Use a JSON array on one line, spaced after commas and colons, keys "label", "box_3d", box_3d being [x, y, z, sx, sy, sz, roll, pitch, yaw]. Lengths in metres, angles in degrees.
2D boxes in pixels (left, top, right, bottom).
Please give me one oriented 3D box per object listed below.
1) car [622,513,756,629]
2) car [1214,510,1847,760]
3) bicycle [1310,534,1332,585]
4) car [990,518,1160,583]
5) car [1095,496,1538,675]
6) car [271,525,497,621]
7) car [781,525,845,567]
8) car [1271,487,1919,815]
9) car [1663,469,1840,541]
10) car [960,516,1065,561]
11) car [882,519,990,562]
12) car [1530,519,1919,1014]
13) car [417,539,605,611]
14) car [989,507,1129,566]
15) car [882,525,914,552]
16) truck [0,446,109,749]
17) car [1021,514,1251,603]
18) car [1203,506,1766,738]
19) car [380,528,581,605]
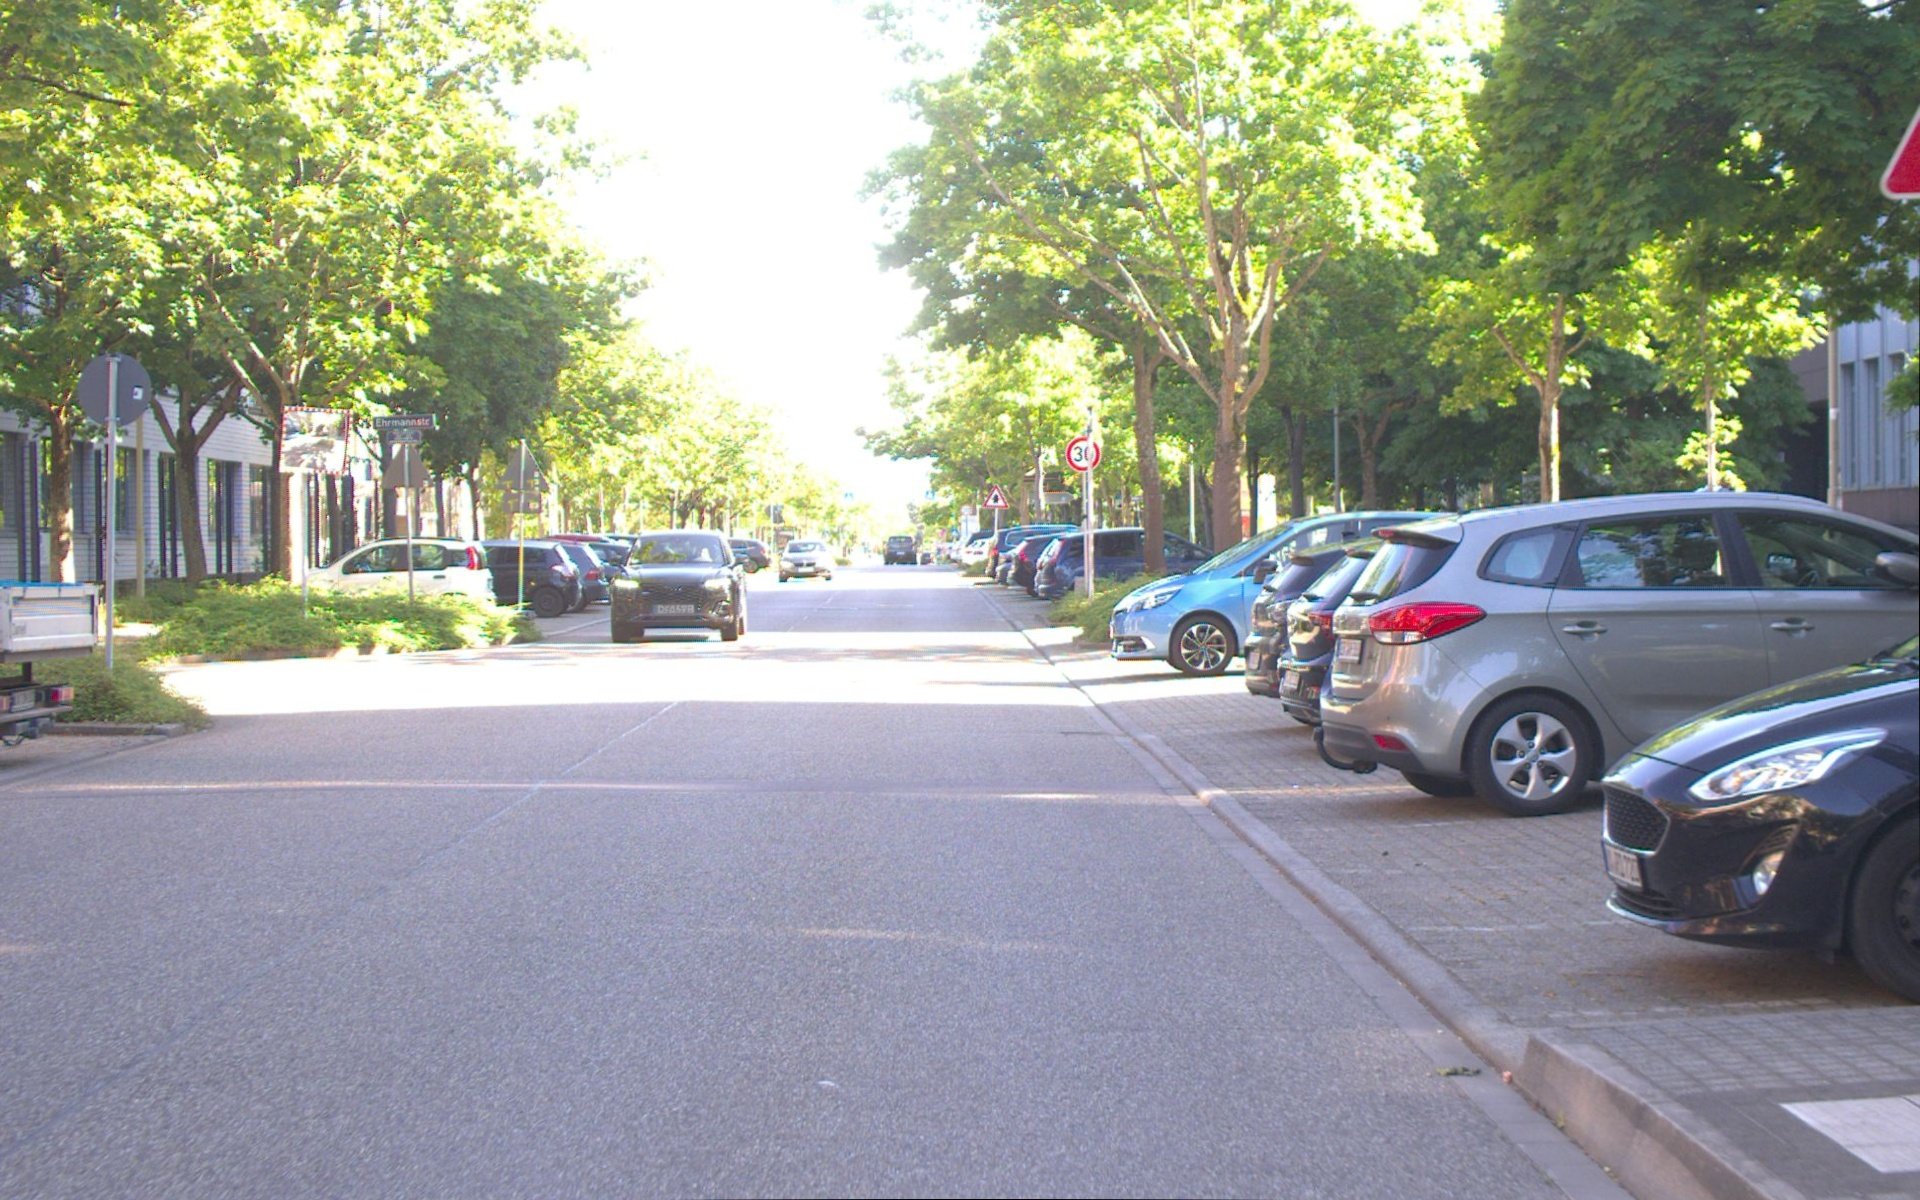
[{"label": "car", "box_3d": [-4.091, -0.463, 52.475, 1.891, 1.678, 4.353, -1, 1, -3]}, {"label": "car", "box_3d": [3.747, 0.196, 22.950, 3.799, 1.403, 1.702, -3, 2, -6]}, {"label": "bicycle", "box_3d": [7.466, -0.845, 71.128, 0.379, 1.043, 1.884, -2, 1, 5]}, {"label": "car", "box_3d": [2.854, -1.244, 85.806, 4.043, 1.486, 1.550, -2, 1, -5]}, {"label": "car", "box_3d": [3.742, -0.173, 36.626, 4.405, 1.612, 1.912, -3, 1, -1]}, {"label": "car", "box_3d": [-9.634, -0.442, 57.677, 3.580, 1.544, 1.637, 0, -2, -3]}, {"label": "car", "box_3d": [-4.981, -1.851, 116.747, 1.813, 1.410, 4.107, 0, 1, 3]}, {"label": "car", "box_3d": [3.994, 0.219, 18.211, 4.351, 1.592, 1.940, -1, 1, -7]}, {"label": "car", "box_3d": [20.763, -2.475, 90.281, 4.071, 1.777, 2.000, 1, 1, -5]}, {"label": "car", "box_3d": [2.100, -2.471, 138.078, 3.986, 1.786, 2.000, 0, 1, -5]}, {"label": "car", "box_3d": [-0.929, -2.289, 131.407, 3.986, 1.619, 2.000, 0, 1, -5]}, {"label": "car", "box_3d": [3.965, 0.448, 10.980, 3.934, 1.434, 1.775, -1, 1, -2]}, {"label": "car", "box_3d": [-9.348, -0.528, 71.808, 3.732, 1.459, 1.677, 0, 1, -1]}, {"label": "car", "box_3d": [2.805, -1.802, 98.241, 3.892, 1.650, 1.858, 0, 1, -1]}, {"label": "car", "box_3d": [-3.791, -3.778, 211.269, 1.933, 1.592, 4.366, -1, 1, -1]}, {"label": "truck", "box_3d": [-8.541, -0.013, 23.280, 4.985, 1.952, 2.138, -1, 1, 1]}, {"label": "car", "box_3d": [3.391, -0.812, 66.778, 4.267, 1.628, 1.858, -1, 1, -3]}, {"label": "car", "box_3d": [3.849, 0.132, 25.684, 3.846, 1.478, 1.825, -3, 2, -1]}, {"label": "car", "box_3d": [-9.364, -0.662, 67.341, 3.732, 1.459, 1.677, 0, 1, -1]}]
